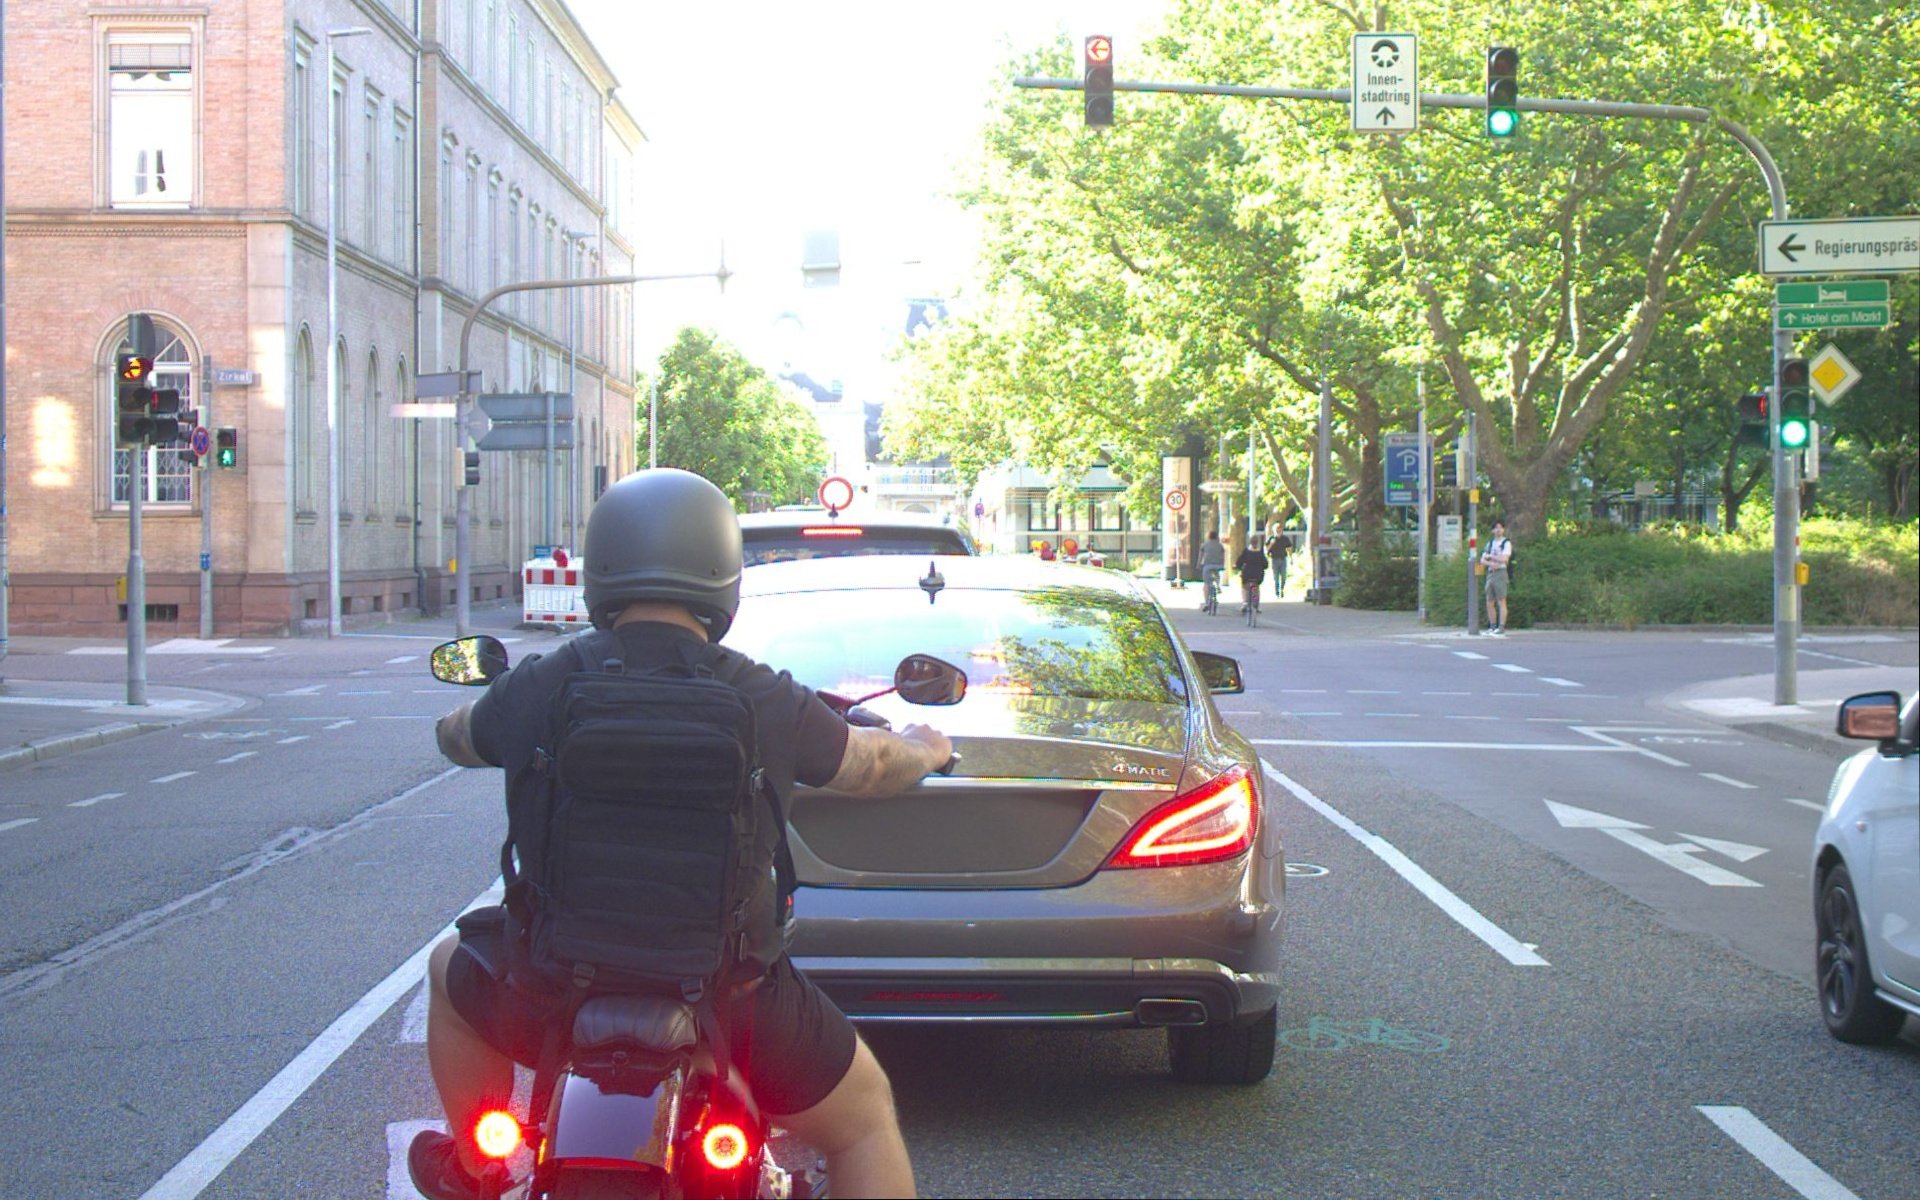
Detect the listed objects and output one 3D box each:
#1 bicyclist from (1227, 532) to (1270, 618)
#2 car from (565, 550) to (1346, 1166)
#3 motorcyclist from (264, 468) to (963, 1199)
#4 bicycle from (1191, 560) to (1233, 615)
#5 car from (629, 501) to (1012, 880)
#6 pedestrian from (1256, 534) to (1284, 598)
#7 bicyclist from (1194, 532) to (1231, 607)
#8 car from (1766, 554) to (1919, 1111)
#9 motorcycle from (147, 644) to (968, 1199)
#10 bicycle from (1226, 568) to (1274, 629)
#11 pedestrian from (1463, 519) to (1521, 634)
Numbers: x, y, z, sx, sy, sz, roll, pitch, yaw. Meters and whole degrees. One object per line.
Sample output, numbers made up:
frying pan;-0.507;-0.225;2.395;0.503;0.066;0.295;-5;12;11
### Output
bicyclist;5.225;-0.455;62.211;0.656;1.525;0.852;2;1;-1
car;-0.037;0.582;10.026;1.828;1.415;3.815;1;1;-1
motorcyclist;-0.512;0.592;5.704;1.012;1.596;1.406;0;1;-1
bicycle;5.255;-0.273;71.658;0.656;1.107;2.186;2;1;-1
car;-0.800;0.376;17.176;1.630;1.645;3.851;2;1;-6
pedestrian;7.635;-0.839;84.716;0.592;1.573;0.527;2;1;0
bicyclist;5.264;-0.633;71.622;0.656;1.525;0.906;2;1;-1
car;3.434;0.648;9.138;1.679;1.493;3.685;2;1;0
motorcycle;-0.515;0.769;5.593;1.012;1.302;2.673;0;1;-1
bicycle;5.243;-0.036;62.168;0.656;1.066;1.927;2;1;-1
pedestrian;8.293;-0.360;53.565;0.570;1.768;0.625;1;1;-35
